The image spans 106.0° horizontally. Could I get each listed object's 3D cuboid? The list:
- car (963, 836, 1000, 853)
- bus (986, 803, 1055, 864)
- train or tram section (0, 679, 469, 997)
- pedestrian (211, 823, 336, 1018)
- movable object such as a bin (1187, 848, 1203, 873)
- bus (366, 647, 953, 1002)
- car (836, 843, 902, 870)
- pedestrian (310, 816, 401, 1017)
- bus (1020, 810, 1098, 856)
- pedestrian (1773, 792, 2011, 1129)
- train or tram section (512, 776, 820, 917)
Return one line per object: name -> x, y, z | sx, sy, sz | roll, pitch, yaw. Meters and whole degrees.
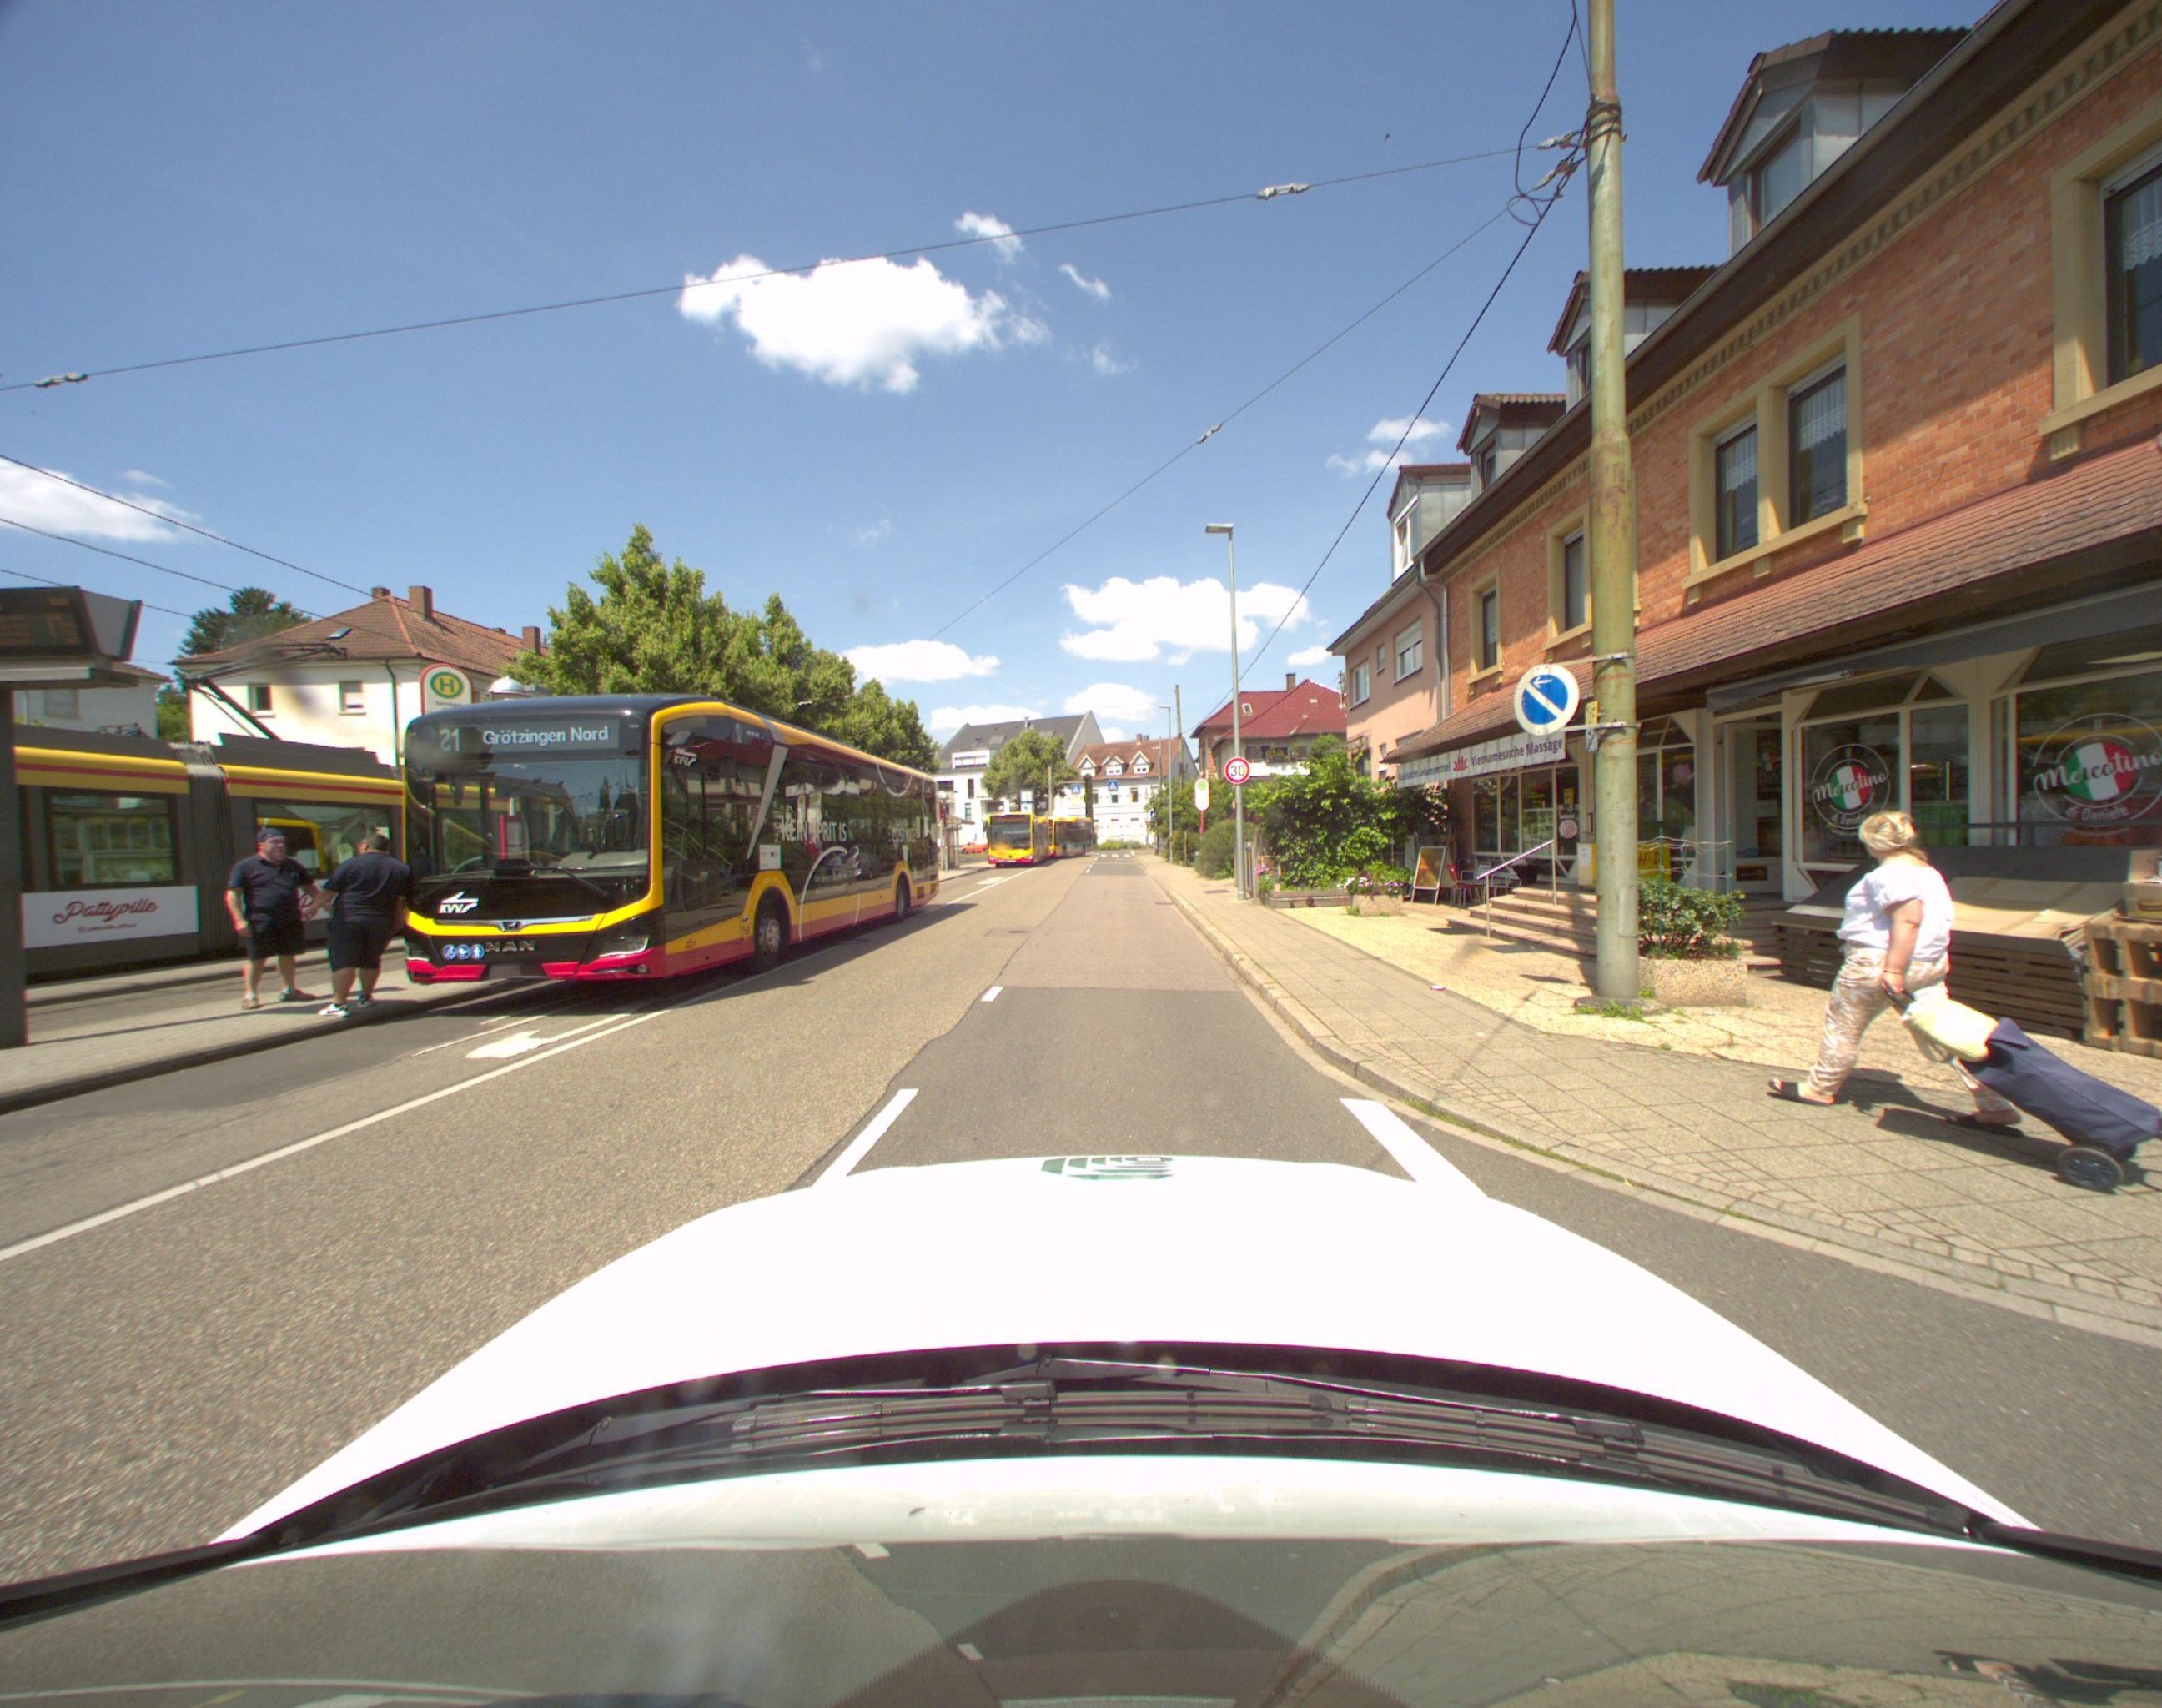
car -> -11.828, -1.156, 96.873 | 3.949, 2.014, 2.012 | 0, 0, 31
bus -> -3.445, -1.184, 49.772 | 2.896, 3.247, 12.125 | 1, 1, 2
train or tram section -> -13.949, -0.171, 7.450 | 2.951, 3.642, 17.363 | 1, 1, 2
pedestrian -> -7.781, 0.604, 7.883 | 0.787, 1.777, 0.567 | 1, -1, -40
movable object such as a bin -> 4.248, 0.239, 30.324 | 0.405, 0.907, 0.729 | -5, 0, -1
bus -> -4.852, -0.264, 13.599 | 2.886, 3.247, 12.205 | 0, 0, 3
car -> -11.071, 0.120, 42.465 | 3.287, 1.373, 1.460 | 1, 0, -18
pedestrian -> -6.690, 0.554, 7.533 | 0.597, 1.777, 0.381 | 1, -1, -40
bus -> -1.439, -1.666, 63.208 | 2.760, 3.208, 12.355 | 1, 2, 14
pedestrian -> 4.290, 0.511, 4.368 | 0.698, 1.641, 0.664 | -2, 2, 23
train or tram section -> -13.078, -0.295, 28.211 | 2.951, 3.642, 14.003 | 1, 1, 2
